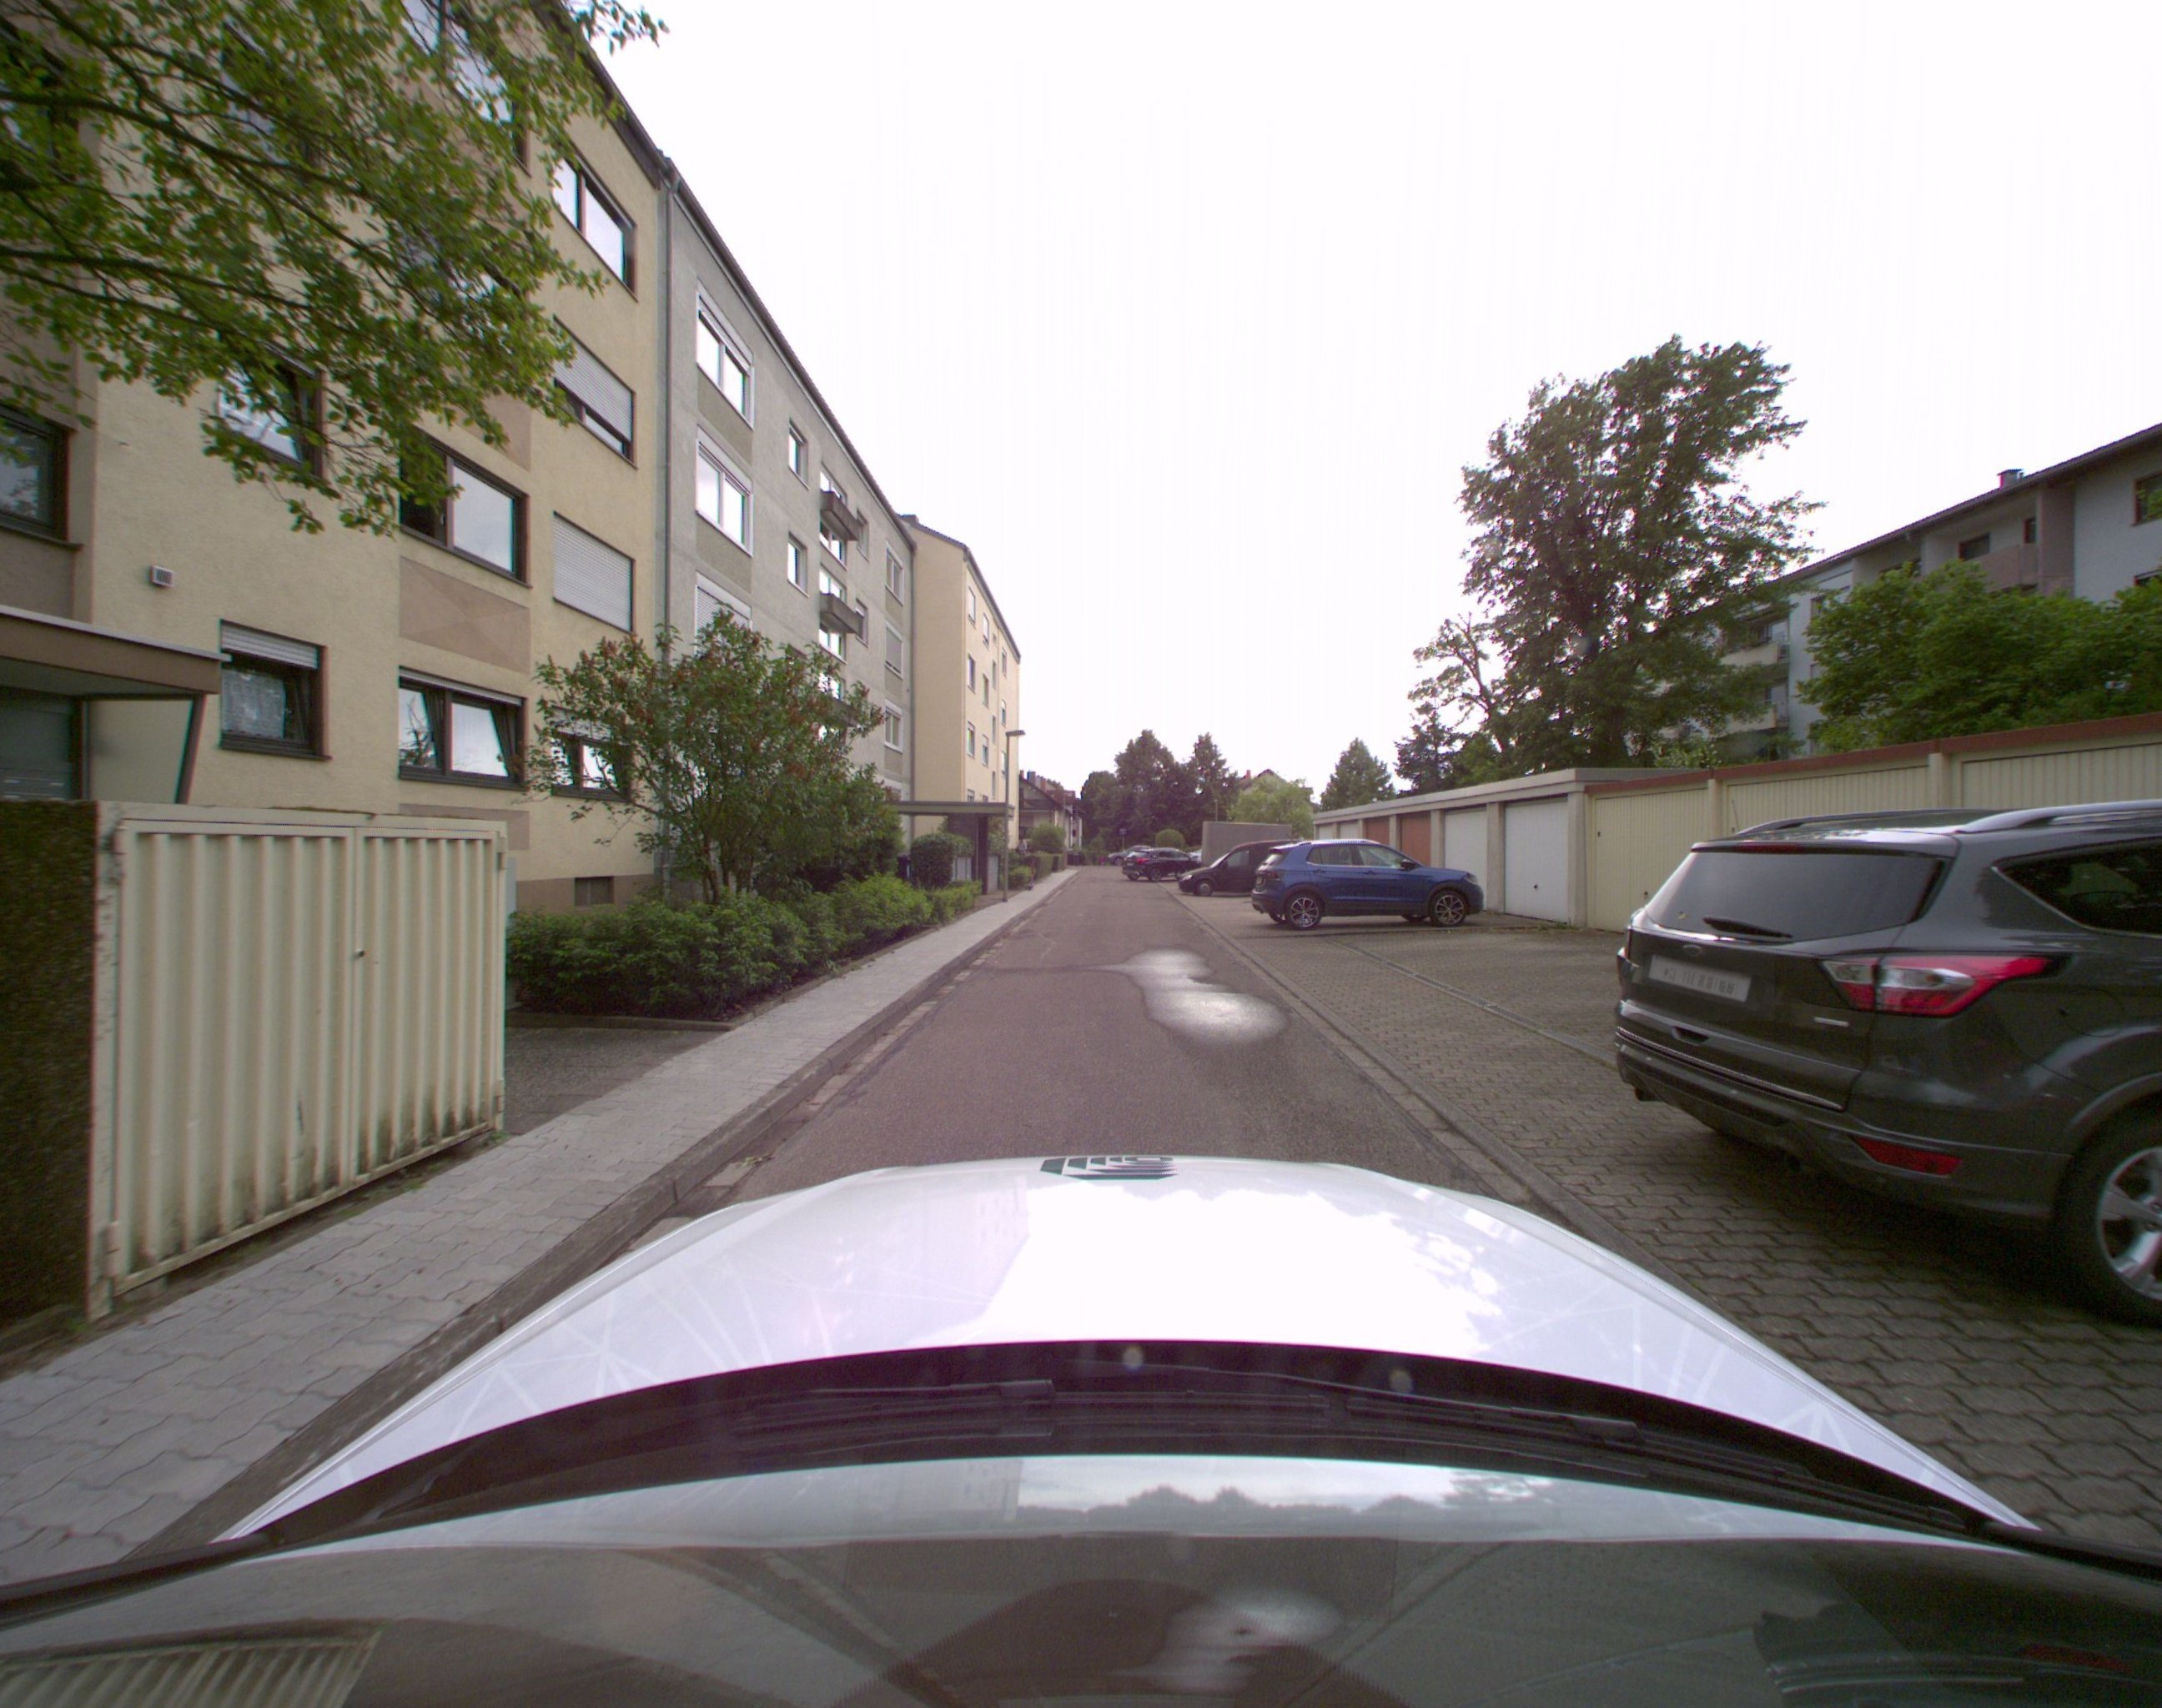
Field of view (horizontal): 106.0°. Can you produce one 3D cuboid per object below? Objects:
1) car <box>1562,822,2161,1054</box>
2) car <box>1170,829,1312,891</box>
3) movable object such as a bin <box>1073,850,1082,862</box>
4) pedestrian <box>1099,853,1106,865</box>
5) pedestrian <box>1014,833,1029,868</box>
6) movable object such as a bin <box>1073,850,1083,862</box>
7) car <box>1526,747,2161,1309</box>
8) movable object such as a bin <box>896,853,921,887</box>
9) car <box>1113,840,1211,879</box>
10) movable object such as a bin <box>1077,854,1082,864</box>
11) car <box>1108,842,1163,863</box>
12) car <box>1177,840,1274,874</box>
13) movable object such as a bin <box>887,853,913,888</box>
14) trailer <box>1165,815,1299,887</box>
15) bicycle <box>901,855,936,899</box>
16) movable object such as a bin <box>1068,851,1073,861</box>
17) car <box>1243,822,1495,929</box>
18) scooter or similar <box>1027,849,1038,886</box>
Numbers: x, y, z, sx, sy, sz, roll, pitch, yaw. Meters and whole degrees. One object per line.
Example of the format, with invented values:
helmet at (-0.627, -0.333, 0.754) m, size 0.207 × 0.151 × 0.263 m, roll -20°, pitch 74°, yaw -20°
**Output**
car at (6.301, 0.547, 6.491) m, size 3.744 × 1.445 × 2.001 m, roll -2°, pitch 1°, yaw 1°
car at (5.229, 0.177, 27.056) m, size 4.295 × 1.801 × 2.001 m, roll -2°, pitch 1°, yaw 1°
movable object such as a bin at (-0.282, 0.182, 65.554) m, size 0.636 × 0.953 × 0.723 m, roll 1°, pitch 0°, yaw 1°
pedestrian at (2.683, 0.578, 100.423) m, size 0.812 × 1.517 × 0.438 m, roll 0°, pitch -1°, yaw -1°
pedestrian at (-2.988, -0.174, 40.983) m, size 0.676 × 1.749 × 0.756 m, roll 1°, pitch 0°, yaw 0°
movable object such as a bin at (-0.247, 0.142, 66.311) m, size 0.731 × 0.953 × 0.584 m, roll 1°, pitch 0°, yaw 1°
car at (4.579, 0.470, 3.530) m, size 4.180 × 1.727 × 2.001 m, roll -2°, pitch 1°, yaw 1°
movable object such as a bin at (-5.311, 0.486, 25.091) m, size 0.621 × 1.034 × 0.590 m, roll 0°, pitch 0°, yaw 1°
car at (3.657, 0.211, 36.677) m, size 4.015 × 1.552 × 1.980 m, roll -2°, pitch 1°, yaw -32°
movable object such as a bin at (-0.132, 0.381, 67.461) m, size 0.458 × 0.797 × 0.379 m, roll 1°, pitch 0°, yaw -1°
car at (4.204, -0.119, 63.365) m, size 4.221 × 1.531 × 1.748 m, roll 0°, pitch -2°, yaw 1°
car at (7.063, 0.130, 40.188) m, size 4.517 × 1.588 × 1.990 m, roll 0°, pitch 1°, yaw 3°
movable object such as a bin at (-5.390, 0.479, 24.242) m, size 0.531 × 1.019 × 0.583 m, roll 0°, pitch 0°, yaw 23°
trailer at (5.432, -0.119, 29.783) m, size 4.591 × 2.525 × 1.944 m, roll 0°, pitch 0°, yaw 2°
bicycle at (-4.155, 0.568, 20.907) m, size 0.451 × 1.034 × 1.548 m, roll 2°, pitch 1°, yaw 3°
movable object such as a bin at (-0.886, 0.161, 67.094) m, size 0.384 × 0.889 × 0.379 m, roll 1°, pitch 0°, yaw -1°
car at (5.210, 0.362, 15.167) m, size 3.973 × 1.703 × 2.001 m, roll -2°, pitch 1°, yaw 1°
scooter or similar at (-1.628, 0.439, 27.586) m, size 0.272 × 1.210 × 1.165 m, roll 0°, pitch 1°, yaw 1°
